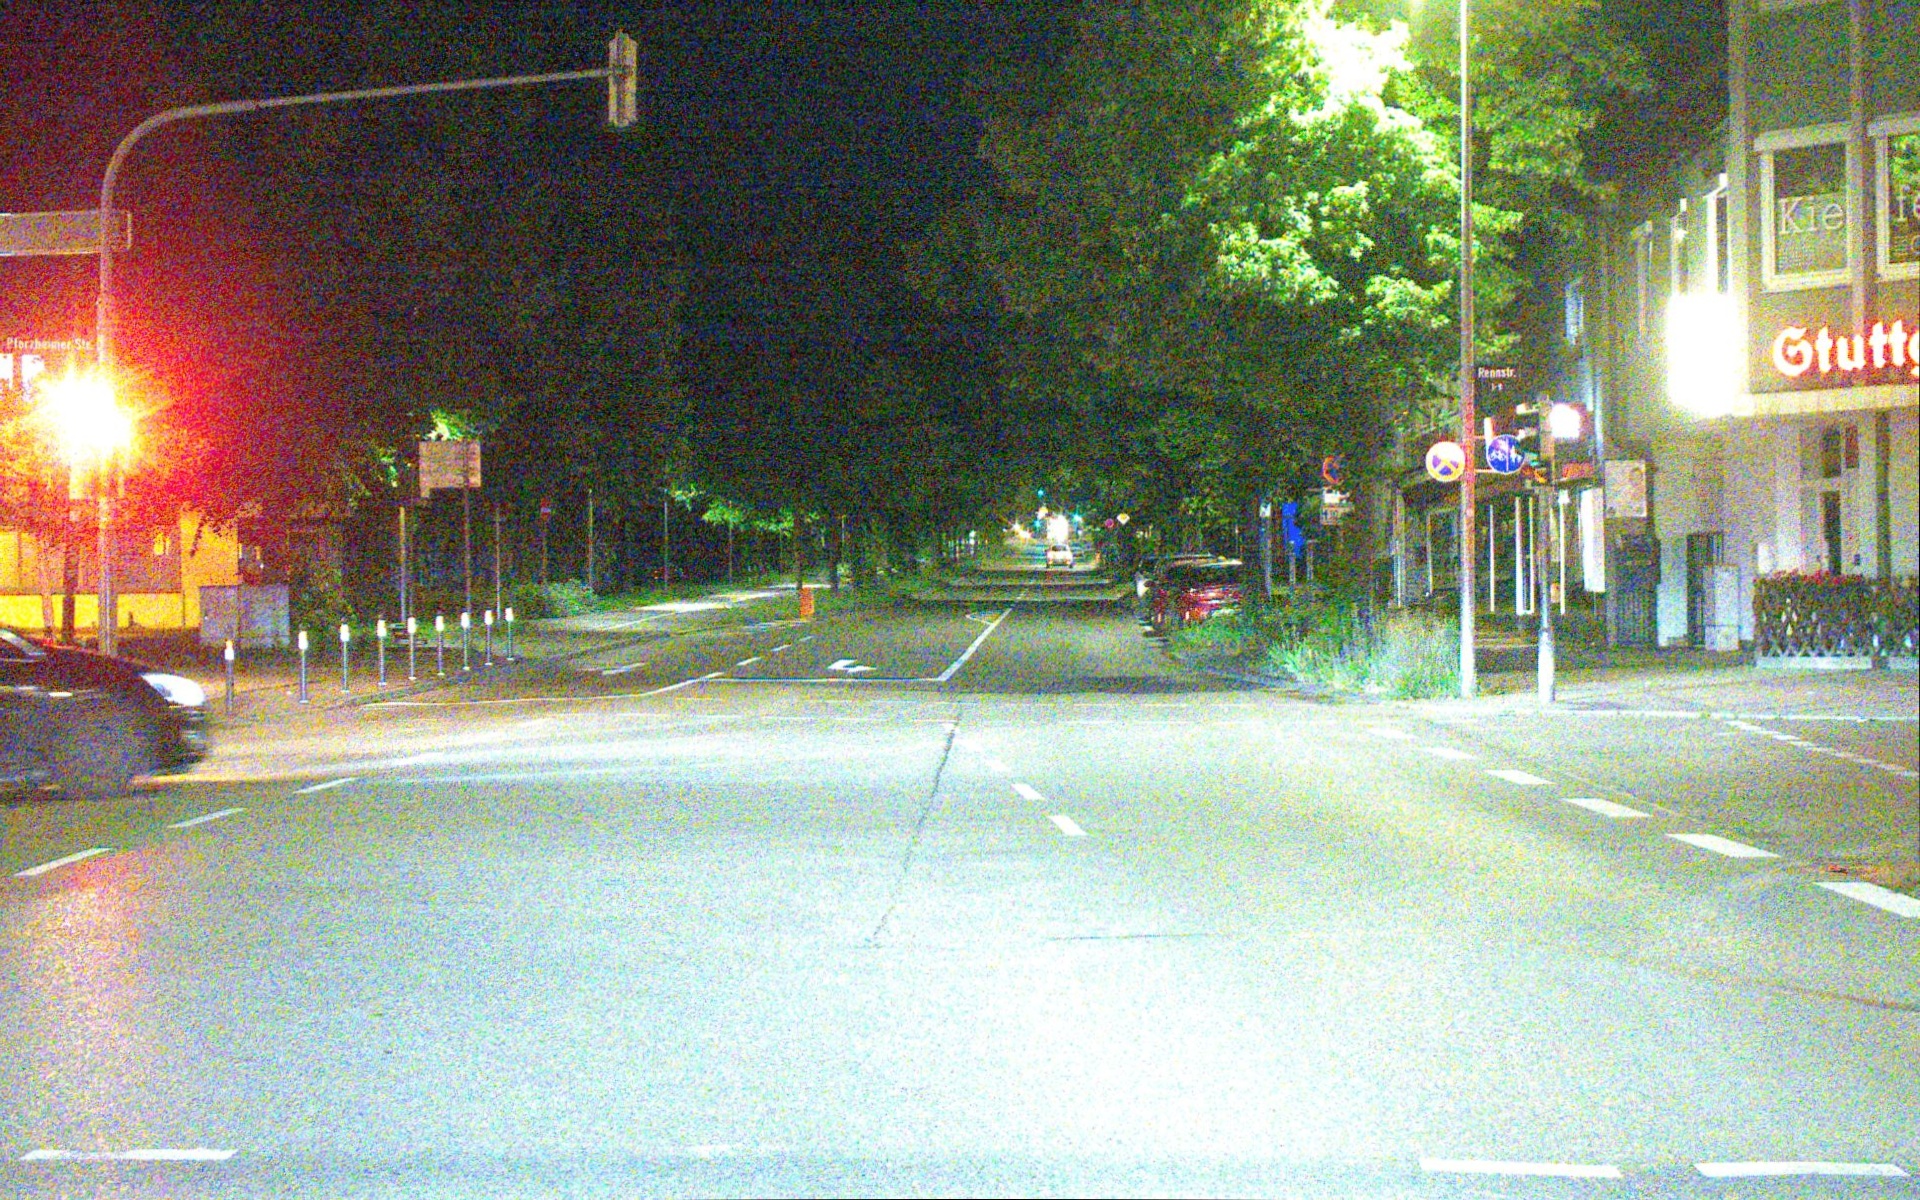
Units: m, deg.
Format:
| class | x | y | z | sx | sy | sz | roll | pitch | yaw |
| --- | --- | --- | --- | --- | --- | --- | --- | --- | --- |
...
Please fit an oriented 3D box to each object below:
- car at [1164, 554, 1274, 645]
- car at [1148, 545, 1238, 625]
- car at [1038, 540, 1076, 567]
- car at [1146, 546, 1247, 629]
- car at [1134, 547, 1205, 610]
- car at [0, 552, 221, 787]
| class | x | y | z | sx | sy | sz | roll | pitch | yaw |
| --- | --- | --- | --- | --- | --- | --- | --- | --- | --- |
| car | 4.757 | -0.037 | 63.497 | 1.876 | 1.610 | 4.000 | 0 | 1 | 2 |
| car | 5.162 | -0.342 | 76.473 | 1.876 | 1.723 | 4.000 | 0 | 1 | 2 |
| car | 5.974 | -2.891 | 212.240 | 2.227 | 1.645 | 4.000 | 0 | 1 | 0 |
| car | 4.703 | -0.262 | 68.802 | 1.876 | 1.610 | 4.000 | 0 | 1 | 2 |
| car | 5.737 | -0.609 | 94.532 | 1.876 | 1.678 | 4.000 | 0 | 1 | 2 |
| car | -7.034 | 0.406 | 21.552 | 4.302 | 1.449 | 1.880 | 0 | 1 | -30 |
